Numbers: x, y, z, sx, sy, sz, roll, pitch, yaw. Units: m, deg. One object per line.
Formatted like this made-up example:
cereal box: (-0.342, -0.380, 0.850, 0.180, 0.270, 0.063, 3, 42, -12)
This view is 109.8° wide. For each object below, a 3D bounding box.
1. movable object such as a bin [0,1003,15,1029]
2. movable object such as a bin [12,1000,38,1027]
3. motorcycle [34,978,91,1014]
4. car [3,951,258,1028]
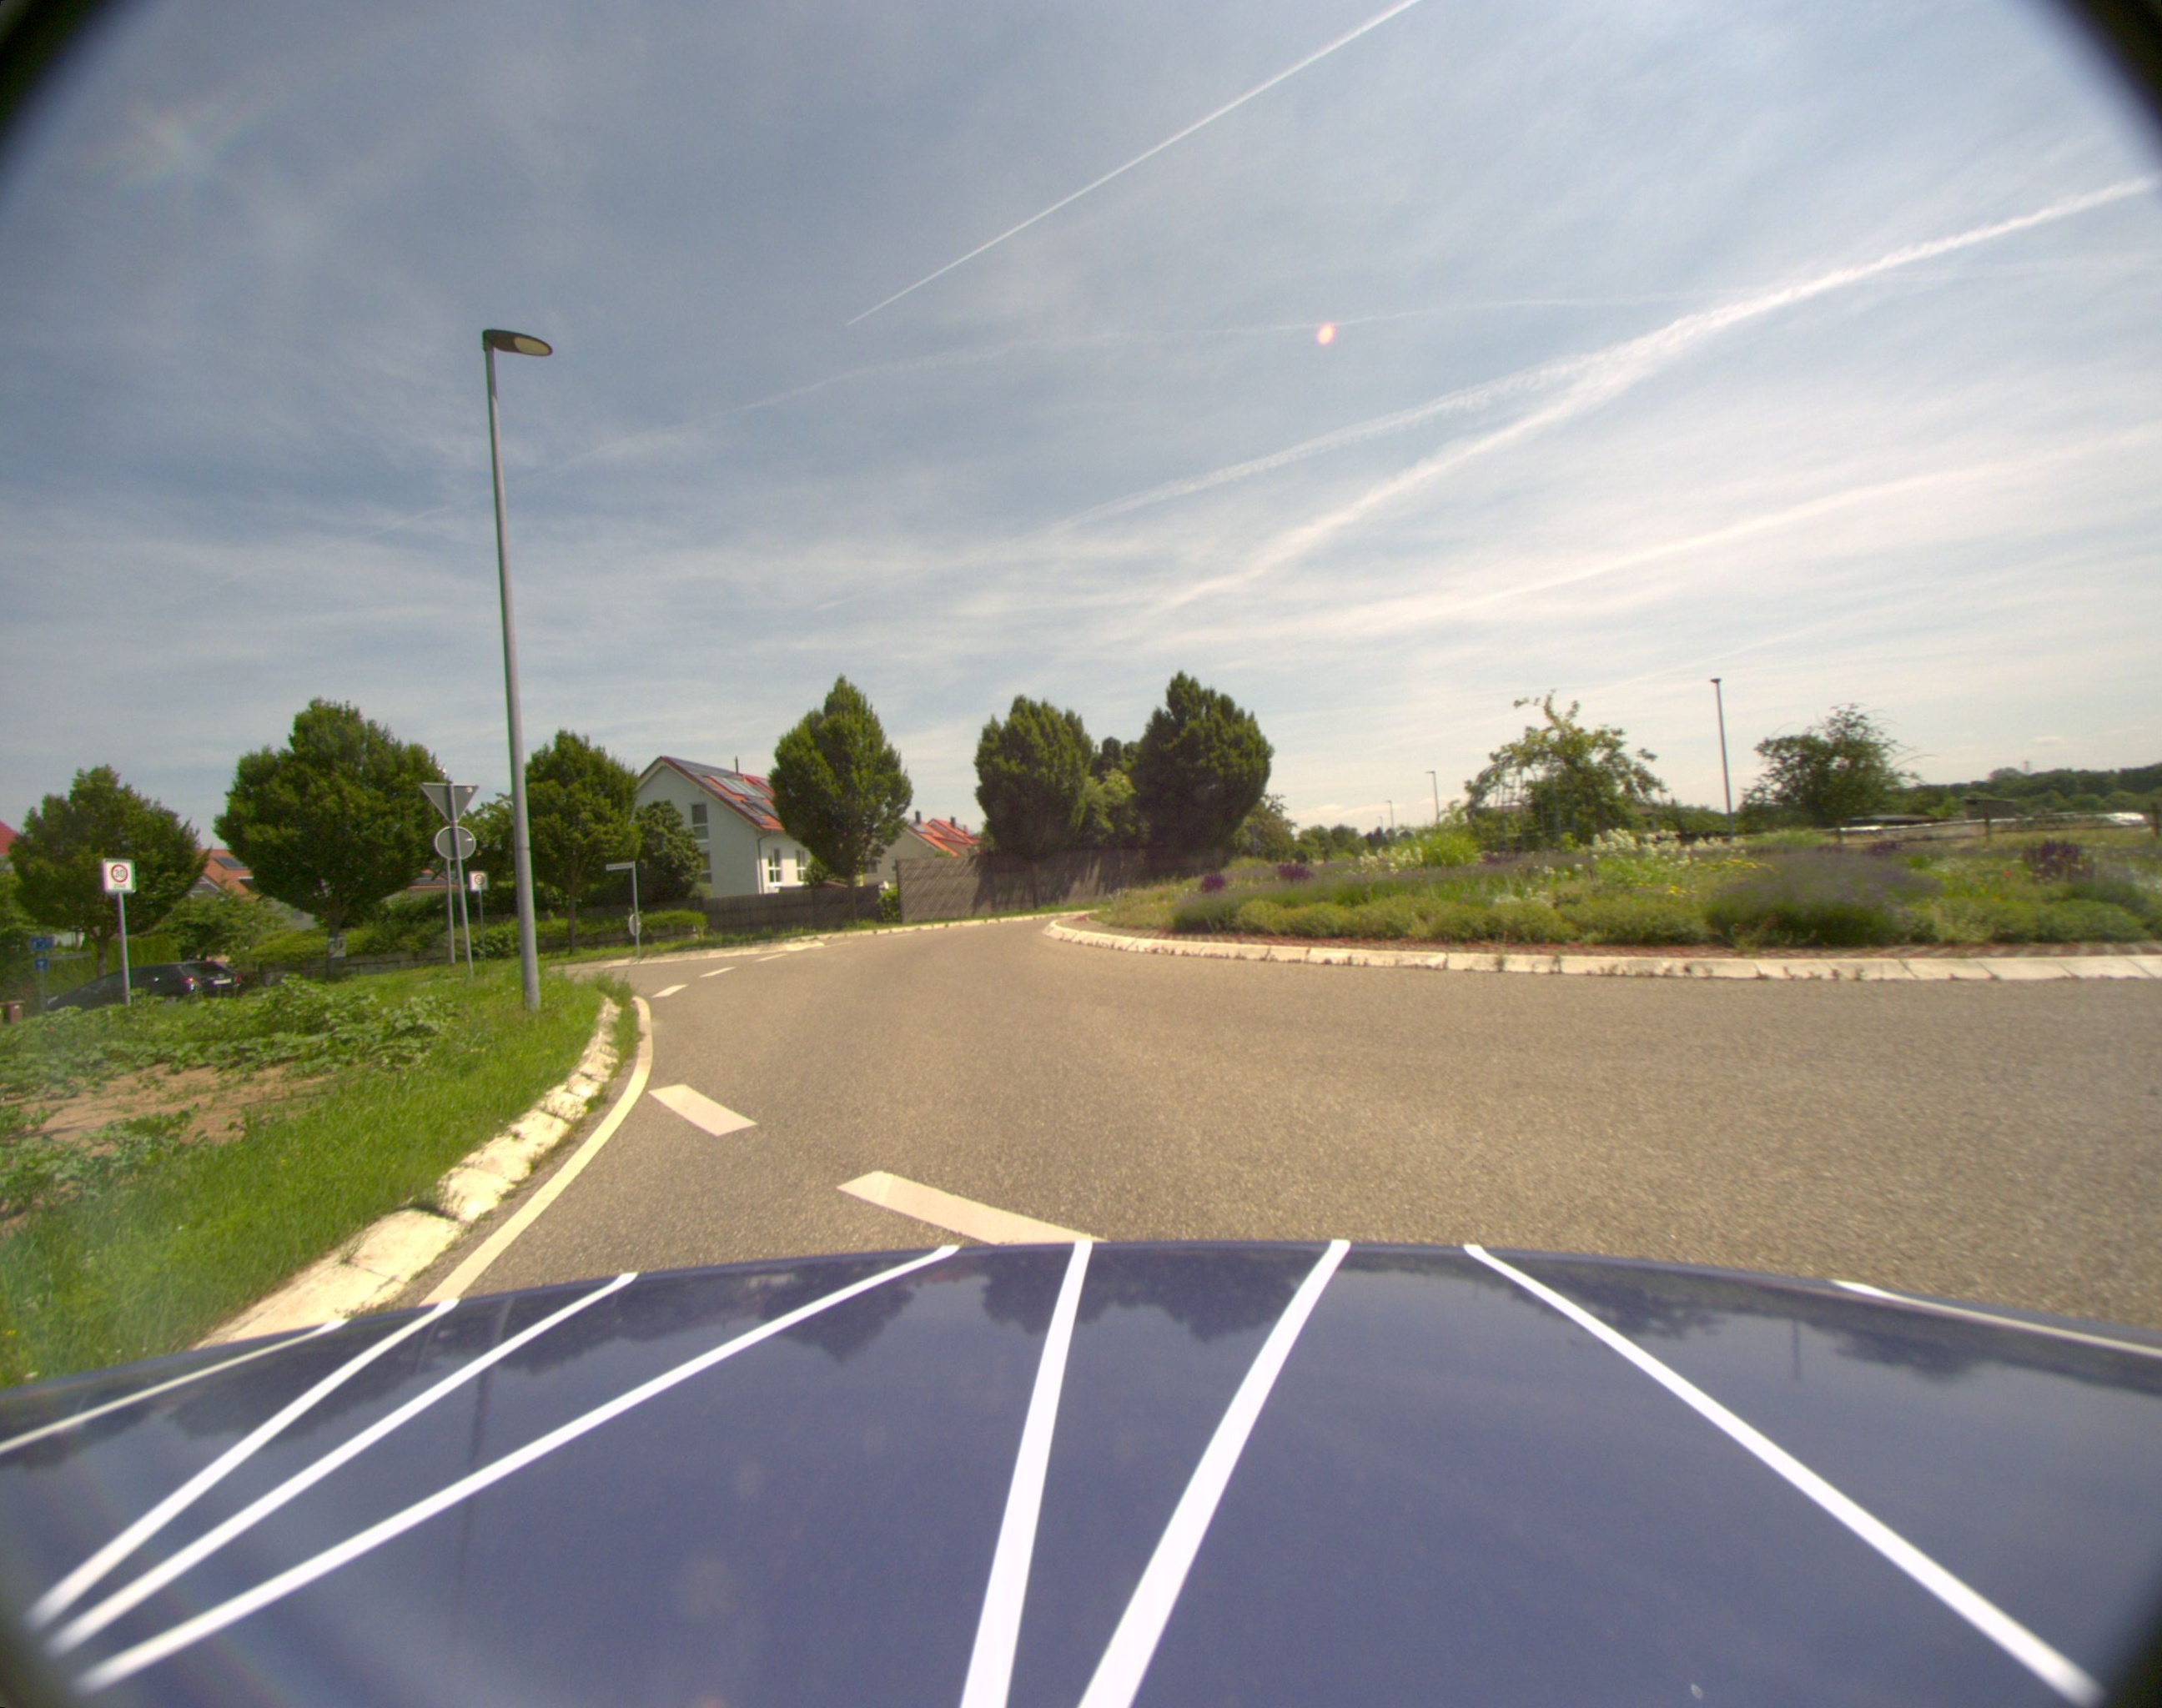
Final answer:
movable object such as a bin: (-42.383, 6.374, 29.837, 0.498, 0.960, 0.442, -6, -2, 20)
movable object such as a bin: (-42.188, 6.372, 30.357, 0.498, 0.960, 0.442, -6, -2, 20)
motorcycle: (-44.937, 6.250, 33.526, 1.659, 1.340, 0.852, -5, -1, 14)
car: (-26.655, 3.756, 21.464, 4.433, 1.455, 1.678, -5, -3, -11)
